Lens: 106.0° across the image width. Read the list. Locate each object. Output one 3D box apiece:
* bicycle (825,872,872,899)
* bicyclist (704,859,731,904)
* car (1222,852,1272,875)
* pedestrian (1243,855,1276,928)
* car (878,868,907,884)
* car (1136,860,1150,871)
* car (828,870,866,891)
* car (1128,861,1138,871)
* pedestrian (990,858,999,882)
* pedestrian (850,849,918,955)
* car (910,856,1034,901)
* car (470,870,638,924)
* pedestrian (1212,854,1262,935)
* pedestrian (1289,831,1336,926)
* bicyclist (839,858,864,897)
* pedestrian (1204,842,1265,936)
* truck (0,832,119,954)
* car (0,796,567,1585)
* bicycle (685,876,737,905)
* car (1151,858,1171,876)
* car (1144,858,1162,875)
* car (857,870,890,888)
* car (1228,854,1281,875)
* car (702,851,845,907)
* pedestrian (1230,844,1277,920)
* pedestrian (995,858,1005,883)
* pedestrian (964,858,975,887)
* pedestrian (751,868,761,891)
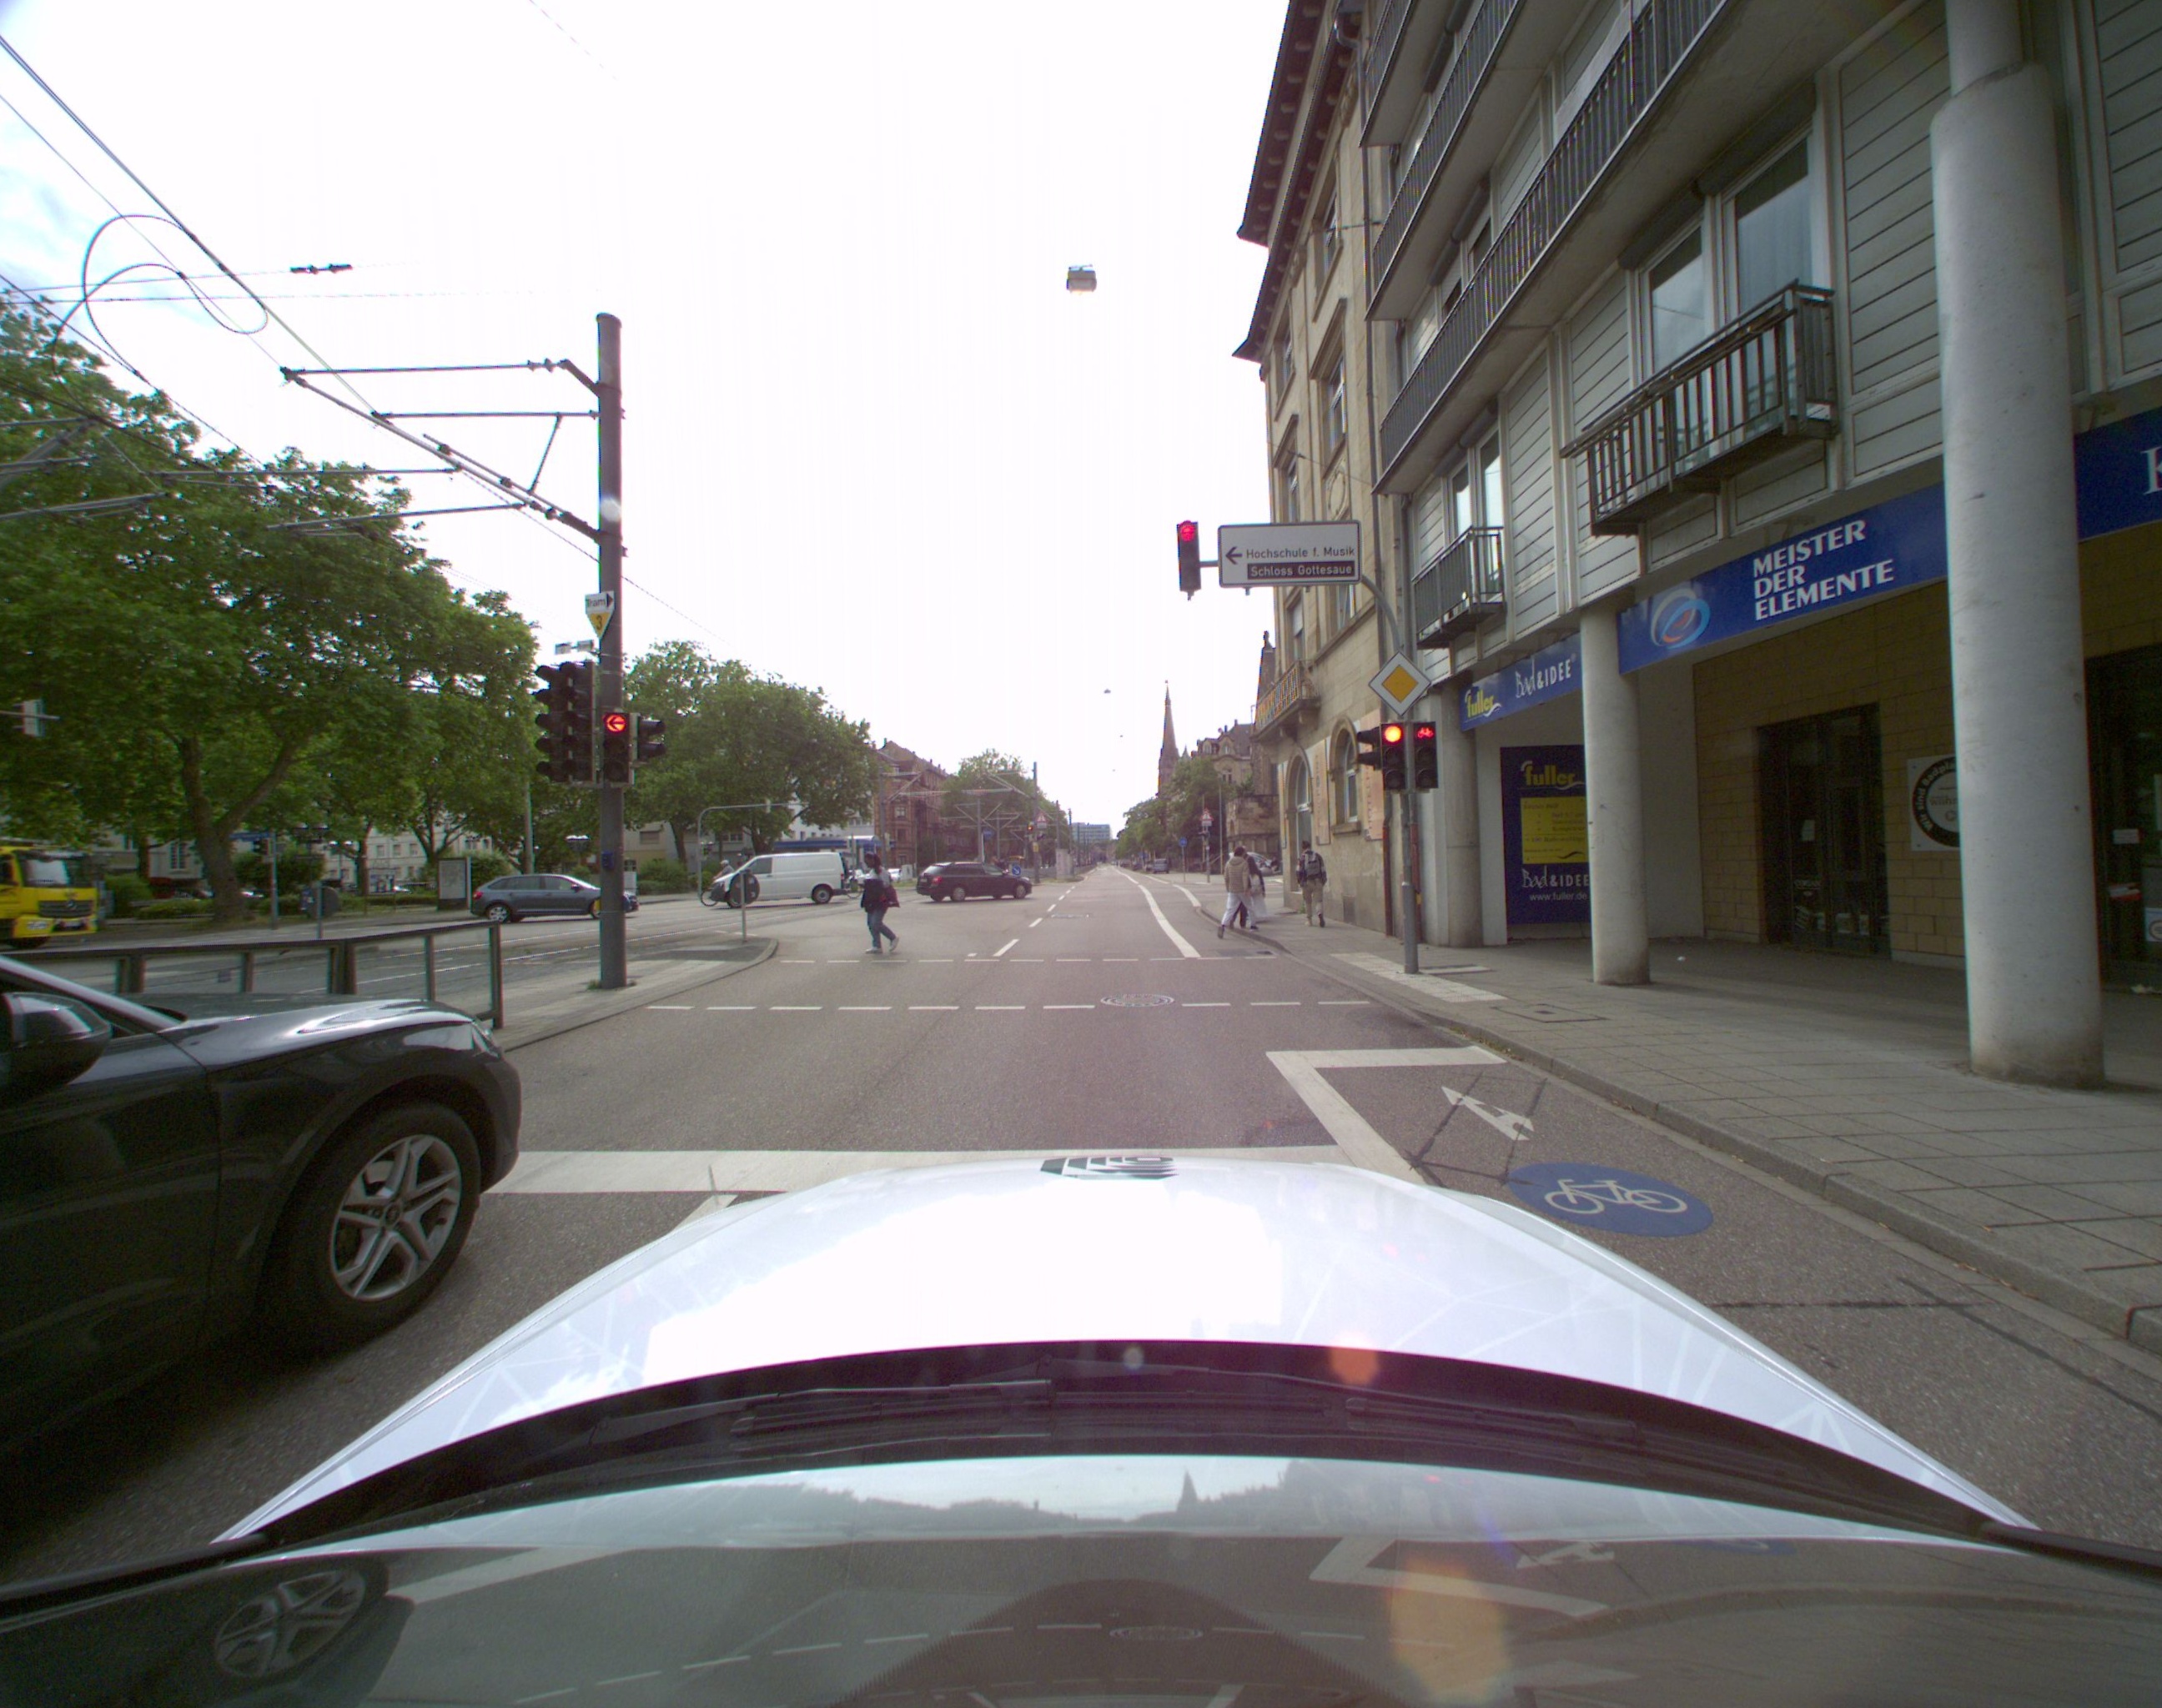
[{"bbox_3d":[-10.128,1.376,35.442,1.943,1.136,0.731,0,-1,-19],"label":"bicycle"},{"bbox_3d":[-14.826,1.098,33.219,0.970,1.819,0.527,0,-1,-27],"label":"bicyclist"},{"bbox_3d":[13.862,0.778,68.144,3.785,1.904,2.001,0,-1,1],"label":"car"},{"bbox_3d":[3.997,0.835,18.289,0.696,1.593,0.833,0,-1,10],"label":"pedestrian"},{"bbox_3d":[-18.421,2.122,79.751,1.887,1.557,3.837,0,-1,2],"label":"car"},{"bbox_3d":[9.728,1.819,128.441,1.986,1.607,4.165,-3,-1,1],"label":"car"},{"bbox_3d":[-18.873,2.124,65.940,1.887,1.557,3.837,0,-1,2],"label":"car"},{"bbox_3d":[10.971,2.515,172.398,1.986,2.014,4.001,0,-1,2],"label":"car"},{"bbox_3d":[-5.546,1.007,52.413,0.544,1.537,0.465,0,-1,-3],"label":"pedestrian"},{"bbox_3d":[-3.266,0.769,13.524,0.663,1.680,0.874,-1,-1,40],"label":"pedestrian"},{"bbox_3d":[-4.083,0.877,30.824,4.361,1.586,1.791,0,-1,-38],"label":"car"},{"bbox_3d":[-15.820,1.246,24.720,3.997,1.469,1.827,0,-1,-23],"label":"car"},{"bbox_3d":[3.307,0.828,17.249,0.620,1.653,1.003,-1,-1,39],"label":"pedestrian"},{"bbox_3d":[4.563,0.477,16.124,0.622,1.778,1.137,-4,-2,9],"label":"pedestrian"},{"bbox_3d":[-9.999,1.030,35.513,1.041,1.683,0.641,0,-1,-19],"label":"bicyclist"},{"bbox_3d":[3.024,0.673,16.040,1.015,1.813,0.580,0,-1,-22],"label":"pedestrian"},{"bbox_3d":[-30.599,0.983,19.178,10.184,2.941,2.618,-1,-1,-21],"label":"truck"},{"bbox_3d":[-3.149,0.692,1.252,1.873,1.601,4.358,-1,-1,1],"label":"car"},{"bbox_3d":[-15.033,1.475,33.096,1.910,1.142,0.623,0,-1,-28],"label":"bicycle"},{"bbox_3d":[8.812,1.432,90.115,1.986,2.014,4.001,0,-1,1],"label":"car"},{"bbox_3d":[8.828,1.548,99.631,1.986,2.014,4.001,0,-1,1],"label":"car"},{"bbox_3d":[-18.586,2.208,72.966,1.887,1.557,3.837,0,-1,2],"label":"car"},{"bbox_3d":[13.751,0.840,64.733,3.785,1.601,2.001,0,-1,1],"label":"car"},{"bbox_3d":[-11.571,0.895,30.744,4.886,1.967,1.973,0,-1,-24],"label":"car"},{"bbox_3d":[4.173,0.674,19.675,0.906,1.784,0.651,-1,-1,39],"label":"pedestrian"},{"bbox_3d":[-5.154,1.046,51.811,0.651,1.537,0.465,0,-1,-3],"label":"pedestrian"},{"bbox_3d":[-6.802,1.114,49.665,0.571,1.794,0.518,0,-1,-3],"label":"pedestrian"},{"bbox_3d":[-24.920,1.934,62.432,0.371,1.784,0.555,-1,-1,26],"label":"pedestrian"}]
